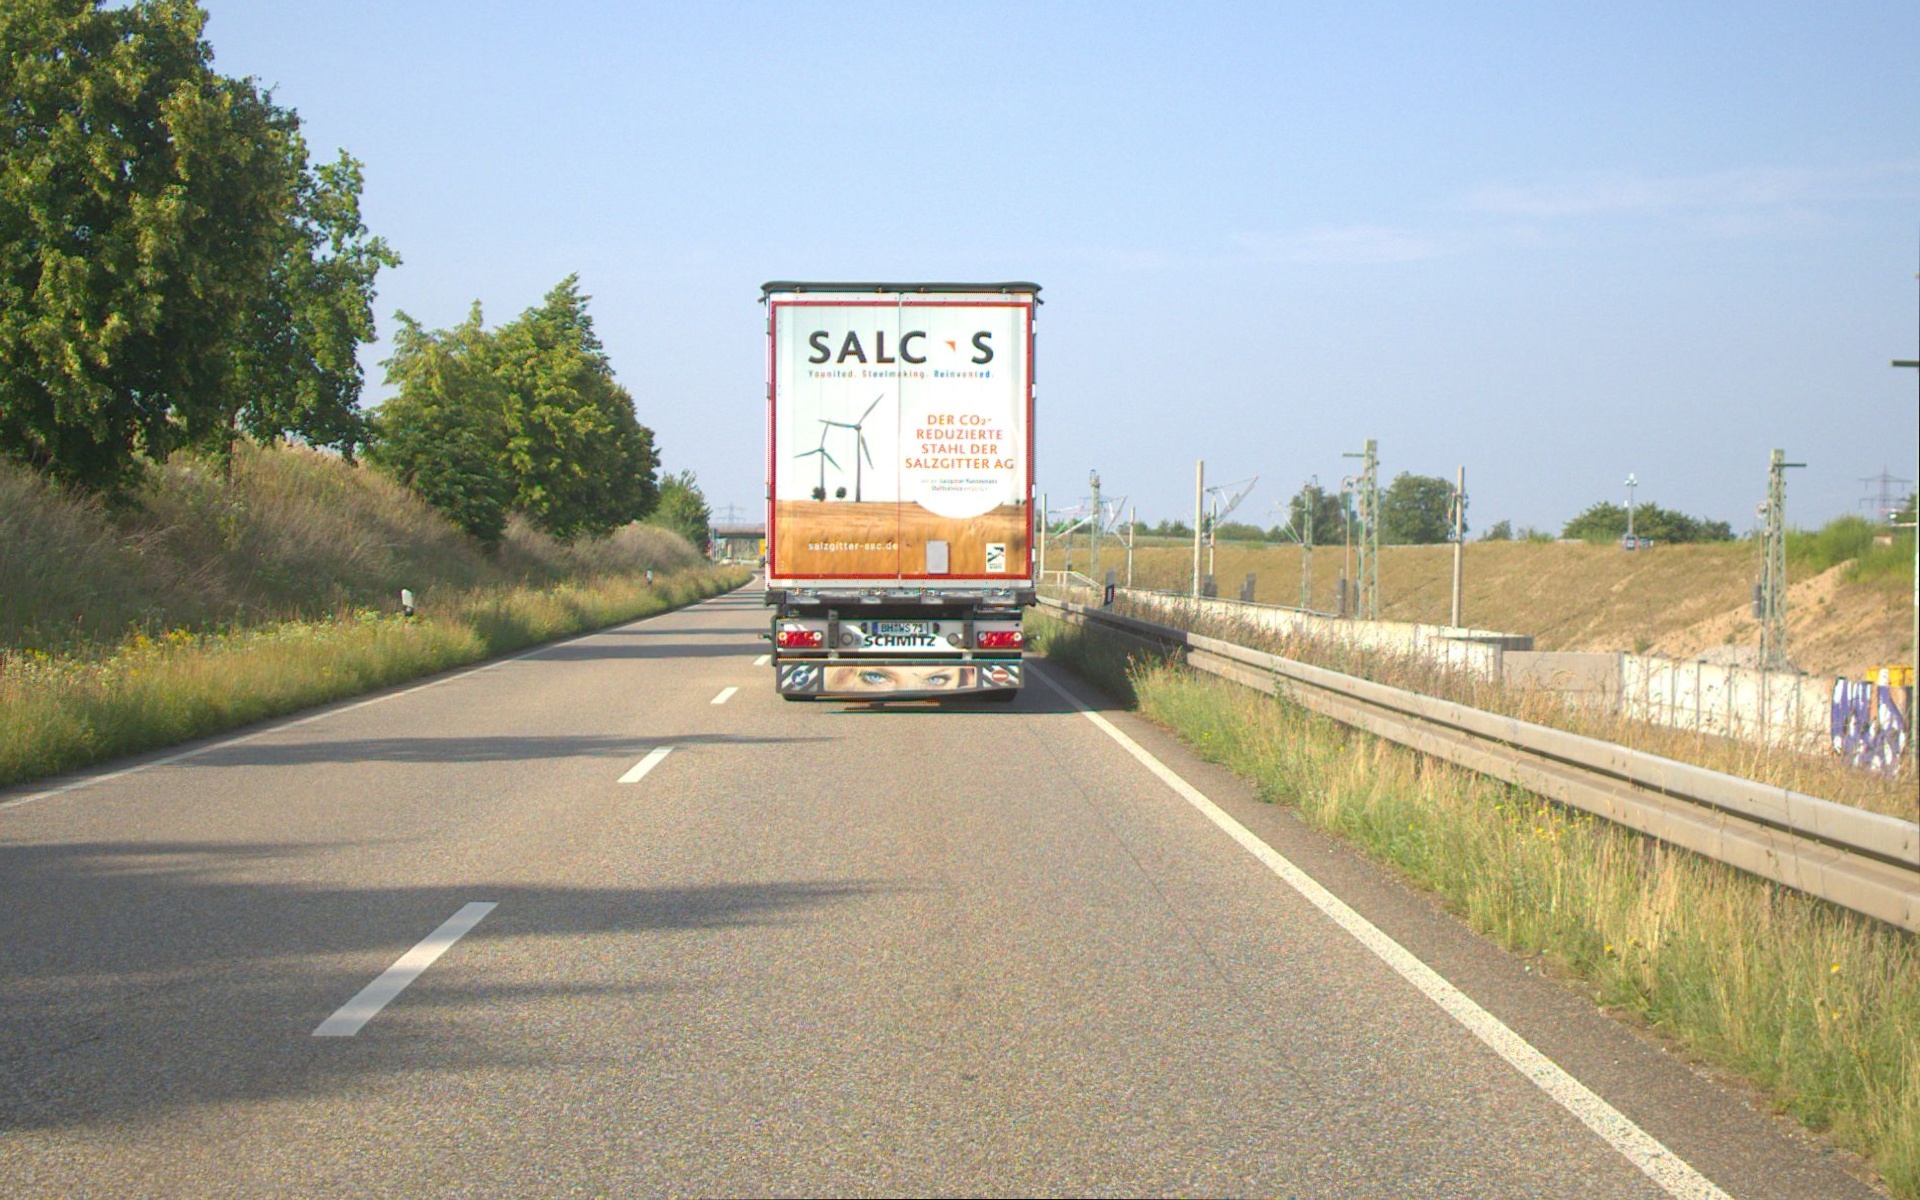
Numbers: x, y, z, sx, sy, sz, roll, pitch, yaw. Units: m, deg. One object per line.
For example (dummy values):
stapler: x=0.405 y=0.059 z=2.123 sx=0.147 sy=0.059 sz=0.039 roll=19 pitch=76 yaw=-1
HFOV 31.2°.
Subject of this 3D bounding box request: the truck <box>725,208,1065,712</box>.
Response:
truck: x=-0.637 y=-1.375 z=36.254 sx=3.153 sy=4.672 sz=8.442 roll=0 pitch=1 yaw=0
